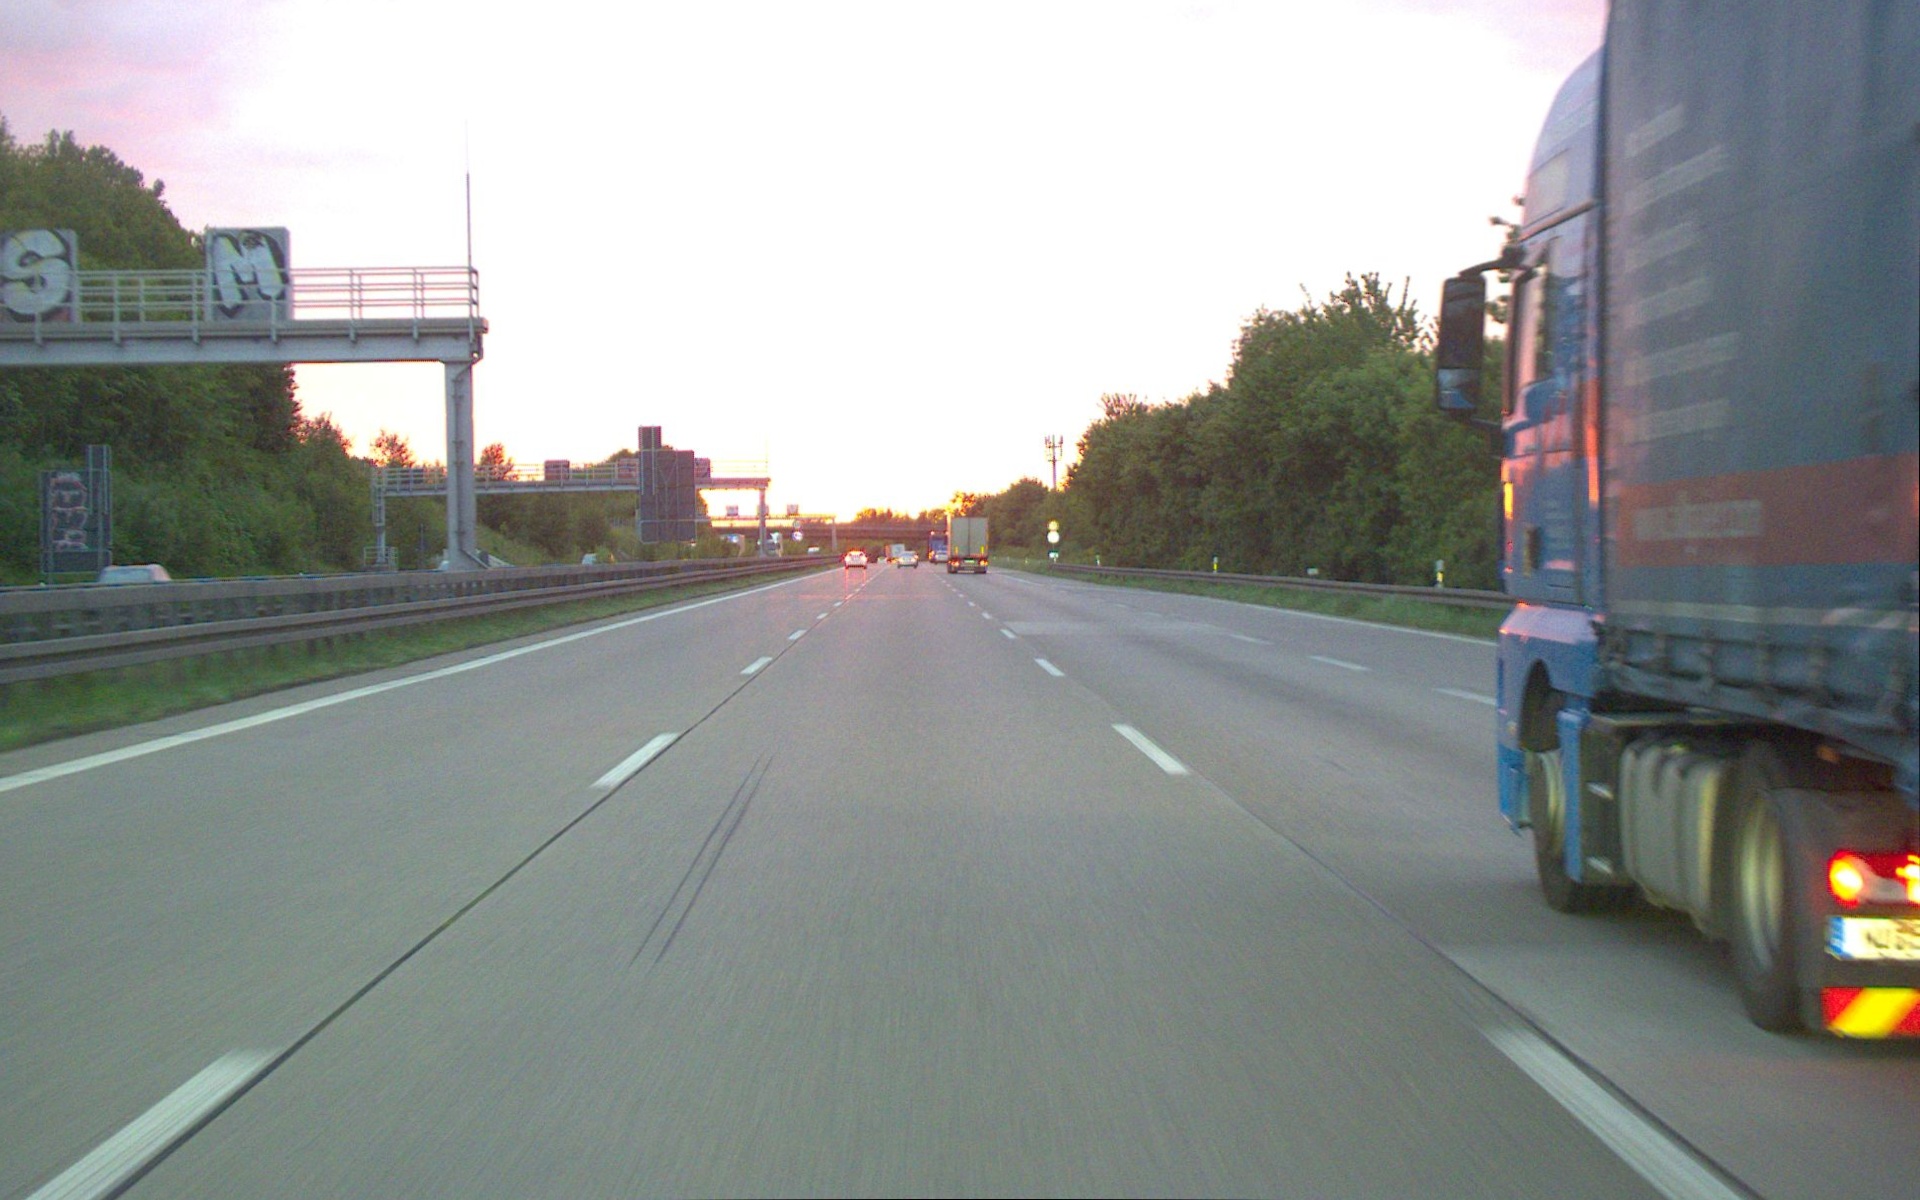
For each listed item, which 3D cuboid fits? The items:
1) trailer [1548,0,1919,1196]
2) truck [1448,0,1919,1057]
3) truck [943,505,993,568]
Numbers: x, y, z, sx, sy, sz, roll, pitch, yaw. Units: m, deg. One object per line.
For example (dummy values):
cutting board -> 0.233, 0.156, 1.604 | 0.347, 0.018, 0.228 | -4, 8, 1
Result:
trailer -> 3.729, -0.561, 6.368 | 2.771, 4.072, 13.740 | 0, 1, -1
truck -> 3.687, -0.630, 13.440 | 2.736, 3.983, 5.849 | 0, 1, 0
truck -> 0.501, -4.292, 233.902 | 3.244, 4.113, 9.787 | -1, 1, 0
